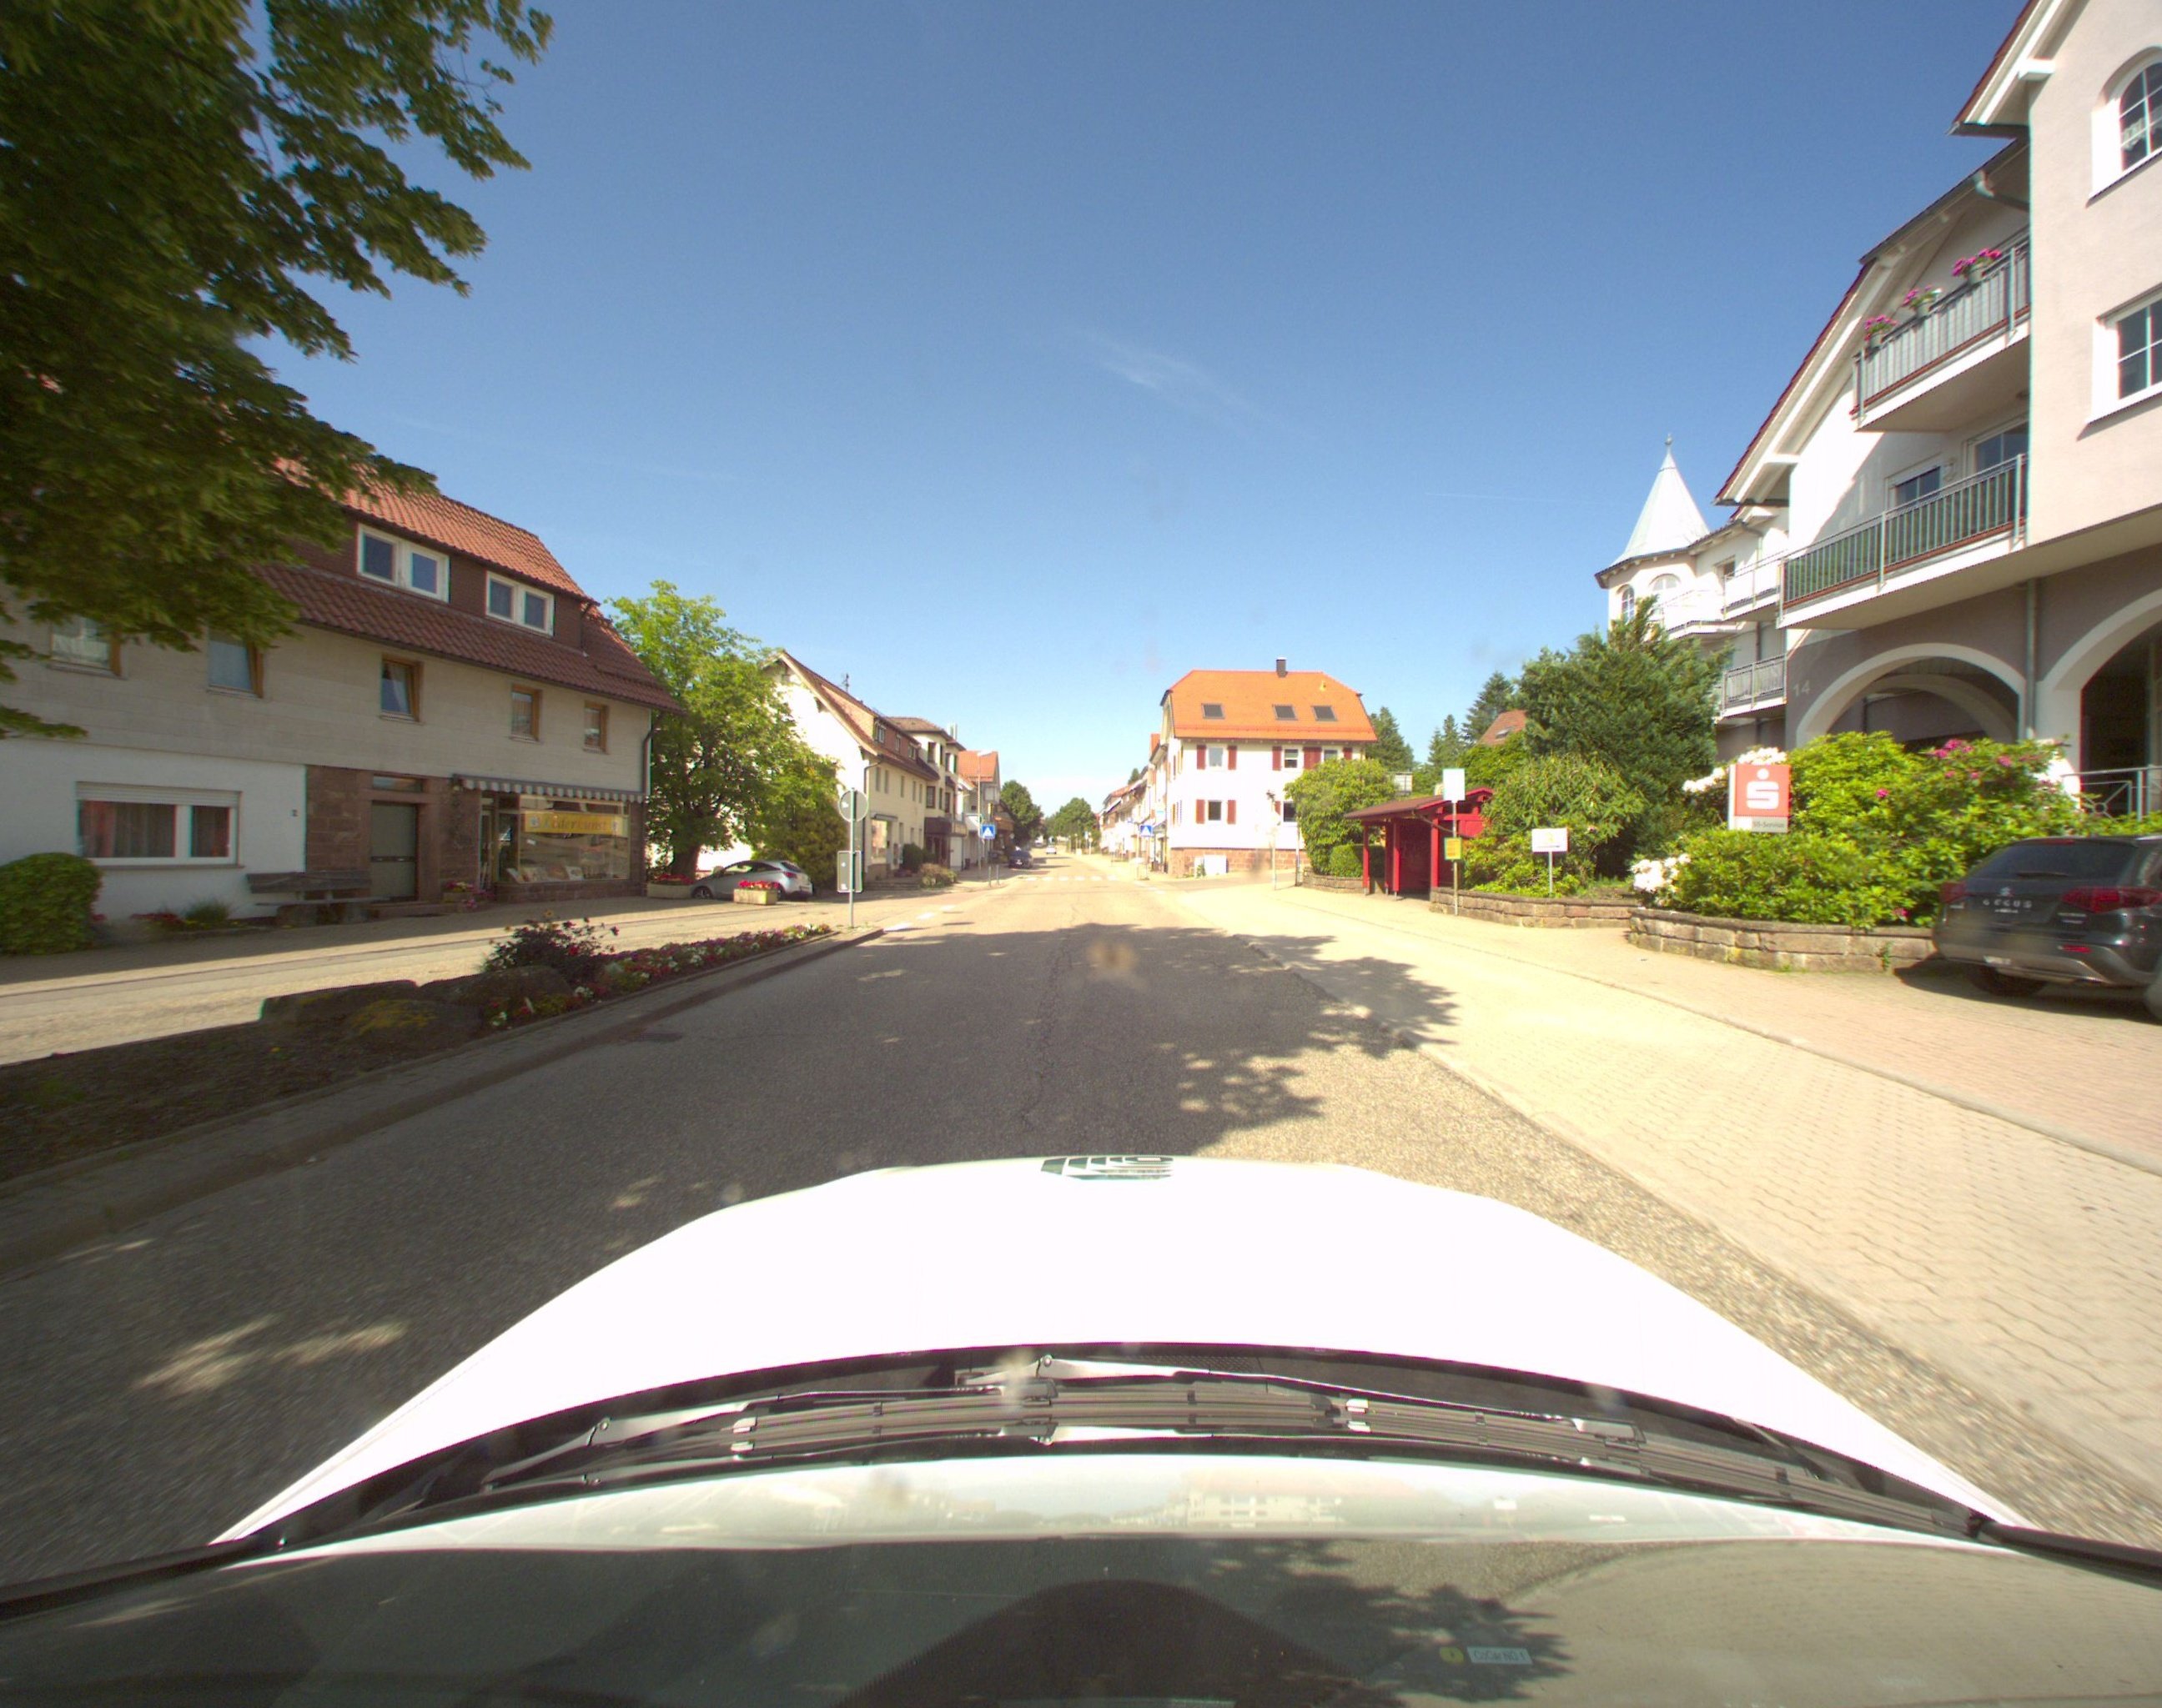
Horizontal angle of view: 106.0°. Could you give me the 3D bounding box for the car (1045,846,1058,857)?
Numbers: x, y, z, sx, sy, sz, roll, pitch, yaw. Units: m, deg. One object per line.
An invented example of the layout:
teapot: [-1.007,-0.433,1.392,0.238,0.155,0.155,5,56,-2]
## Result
car: [-5.881,-0.421,161.529,2.490,2.013,4.299,-2,0,-3]

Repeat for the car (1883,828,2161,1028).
car: [10.191,0.542,7.349,3.971,1.548,1.882,-2,0,2]

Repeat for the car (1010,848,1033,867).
car: [-5.258,0.313,72.378,1.667,1.533,3.535,4,0,0]

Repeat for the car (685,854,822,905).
car: [-10.664,0.884,26.649,3.734,1.455,1.823,-2,-5,12]

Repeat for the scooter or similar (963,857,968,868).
scooter or similar: [-9.445,0.704,66.734,0.351,0.890,0.394,-2,0,-6]
